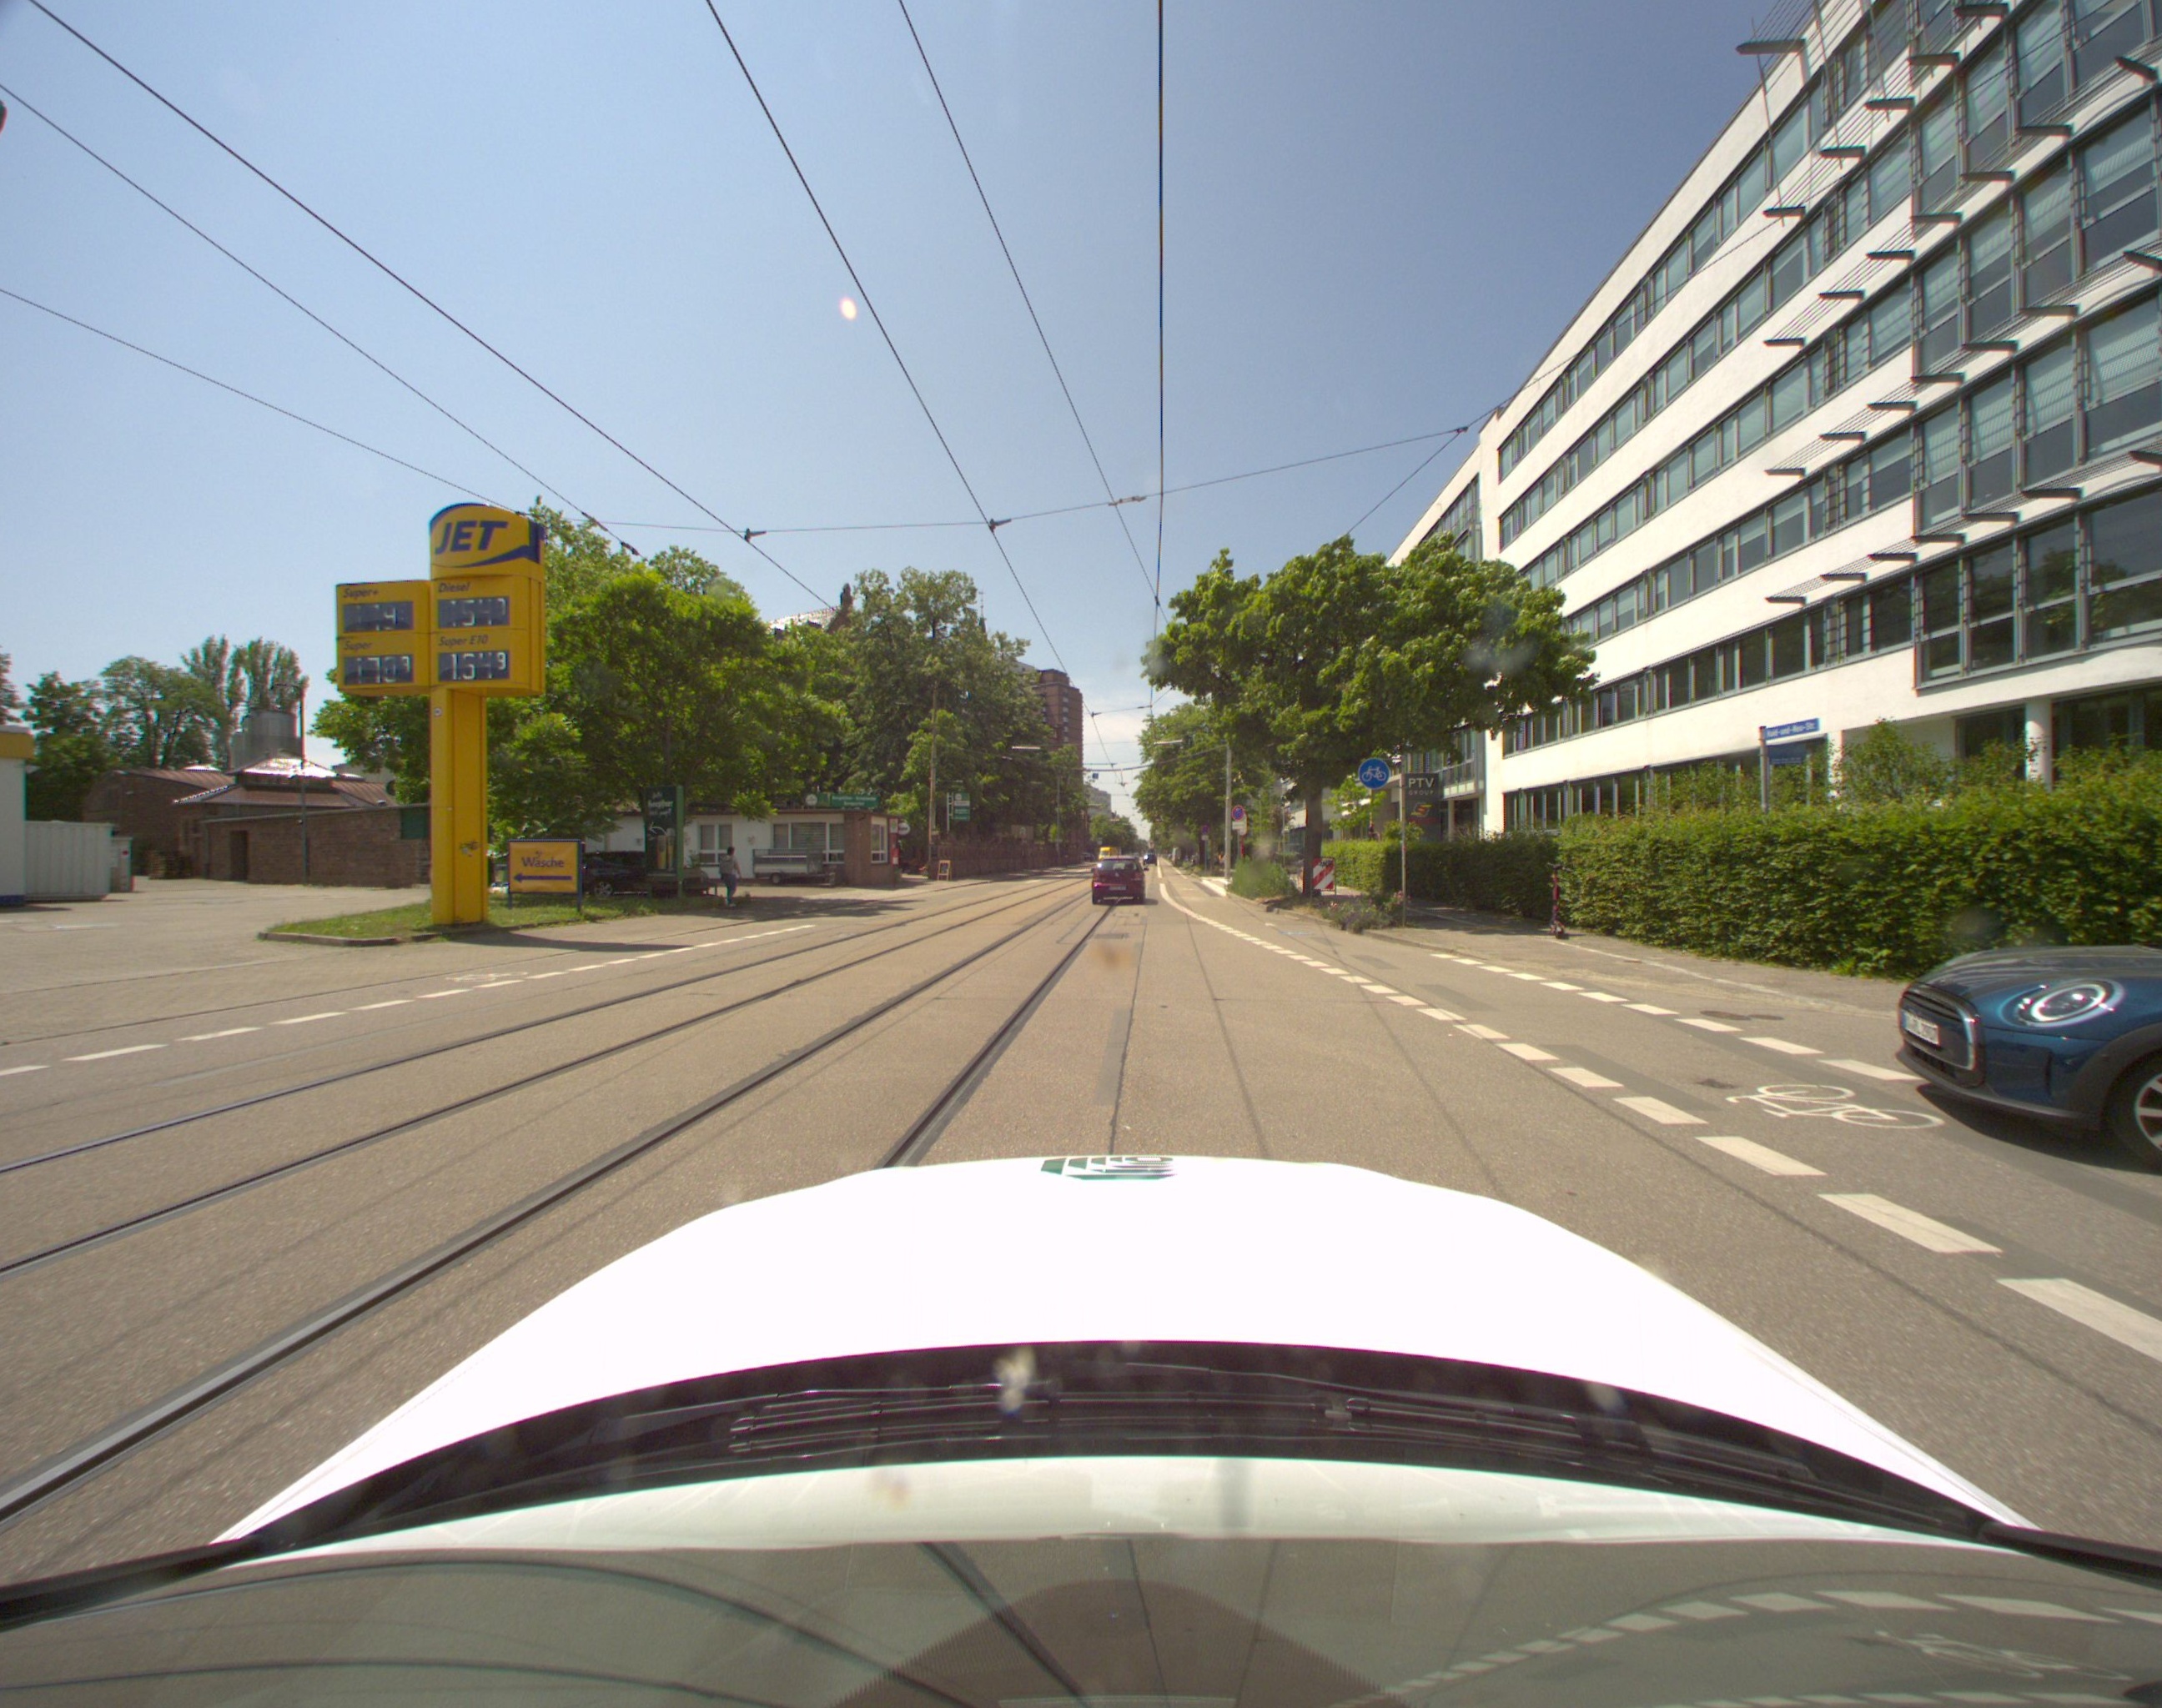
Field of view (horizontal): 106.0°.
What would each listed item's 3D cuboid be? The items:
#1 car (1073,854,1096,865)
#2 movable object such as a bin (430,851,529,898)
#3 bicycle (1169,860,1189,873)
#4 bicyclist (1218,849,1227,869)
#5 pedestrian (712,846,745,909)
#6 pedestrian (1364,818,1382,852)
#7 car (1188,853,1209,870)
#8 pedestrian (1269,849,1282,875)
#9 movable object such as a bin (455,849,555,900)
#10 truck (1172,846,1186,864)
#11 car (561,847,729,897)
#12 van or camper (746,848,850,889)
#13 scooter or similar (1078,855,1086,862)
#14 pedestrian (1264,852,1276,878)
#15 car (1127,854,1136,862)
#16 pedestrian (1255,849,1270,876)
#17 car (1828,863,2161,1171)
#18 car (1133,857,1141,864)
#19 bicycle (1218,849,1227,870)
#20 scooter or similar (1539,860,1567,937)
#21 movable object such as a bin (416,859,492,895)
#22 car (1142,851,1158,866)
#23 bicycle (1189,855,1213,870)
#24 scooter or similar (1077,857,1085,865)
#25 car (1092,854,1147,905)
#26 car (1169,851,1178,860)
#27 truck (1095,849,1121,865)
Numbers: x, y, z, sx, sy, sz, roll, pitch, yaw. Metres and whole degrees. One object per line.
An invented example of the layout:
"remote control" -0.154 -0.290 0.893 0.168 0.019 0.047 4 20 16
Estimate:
"car" 0.618 1.030 151.698 3.963 2.014 2.005 0 0 9
"movable object such as a bin" -19.422 0.636 26.345 1.506 1.432 2.112 1 0 30
"bicycle" 8.523 1.059 70.858 1.743 1.085 0.549 0 0 5
"bicyclist" 12.444 0.438 71.760 0.692 1.799 0.890 -2 -1 8
"pedestrian" -10.026 0.654 23.188 0.577 1.775 0.700 1 0 2
"pedestrian" 15.480 -0.995 43.191 0.866 1.715 1.095 -2 -1 19
"car" 11.154 0.679 77.405 1.680 1.503 3.632 -2 0 5
"pedestrian" 13.041 0.557 54.548 0.539 1.715 0.561 -1 -1 -24
"movable object such as a bin" -18.078 0.624 25.612 1.506 1.509 2.112 1 0 30
"truck" 15.248 0.193 127.039 1.984 2.662 4.882 1 0 5
"car" -14.194 0.555 26.692 1.911 1.488 4.477 1 0 45
"van or camper" -12.264 0.594 35.420 3.766 1.629 1.874 1 1 5
"scooter or similar" 0.184 0.688 124.630 1.091 1.155 0.524 1 0 -16
"pedestrian" 12.551 0.740 54.096 0.539 1.715 0.561 -1 -1 -24
"car" 10.191 0.749 164.566 1.762 1.516 4.006 0 0 5
"pedestrian" 12.268 0.579 55.023 0.681 1.796 0.669 -2 -1 -26
"car" 6.344 0.728 3.821 3.876 1.372 1.714 -1 -1 29
"car" 16.044 1.819 232.506 1.984 1.854 4.688 0 0 5
"bicycle" 12.440 0.470 71.739 0.686 1.785 1.815 -2 -1 8
"scooter or similar" 7.957 0.722 13.741 0.323 1.222 1.158 1 0 26
"movable object such as a bin" -21.175 0.745 27.525 1.391 1.138 1.574 1 0 30
"car" 9.189 0.568 109.099 1.985 2.013 4.003 1 0 3
"bicycle" 9.610 0.668 65.196 1.874 1.182 0.695 -1 -1 5
"scooter or similar" -0.030 0.993 121.965 1.091 1.155 0.524 1 0 -16
"car" 1.297 0.765 26.120 1.611 1.486 4.005 0 0 5
"car" 18.070 0.244 159.005 1.666 1.656 4.006 1 0 5
"truck" 4.906 0.557 145.951 2.349 2.787 7.357 0 0 21
